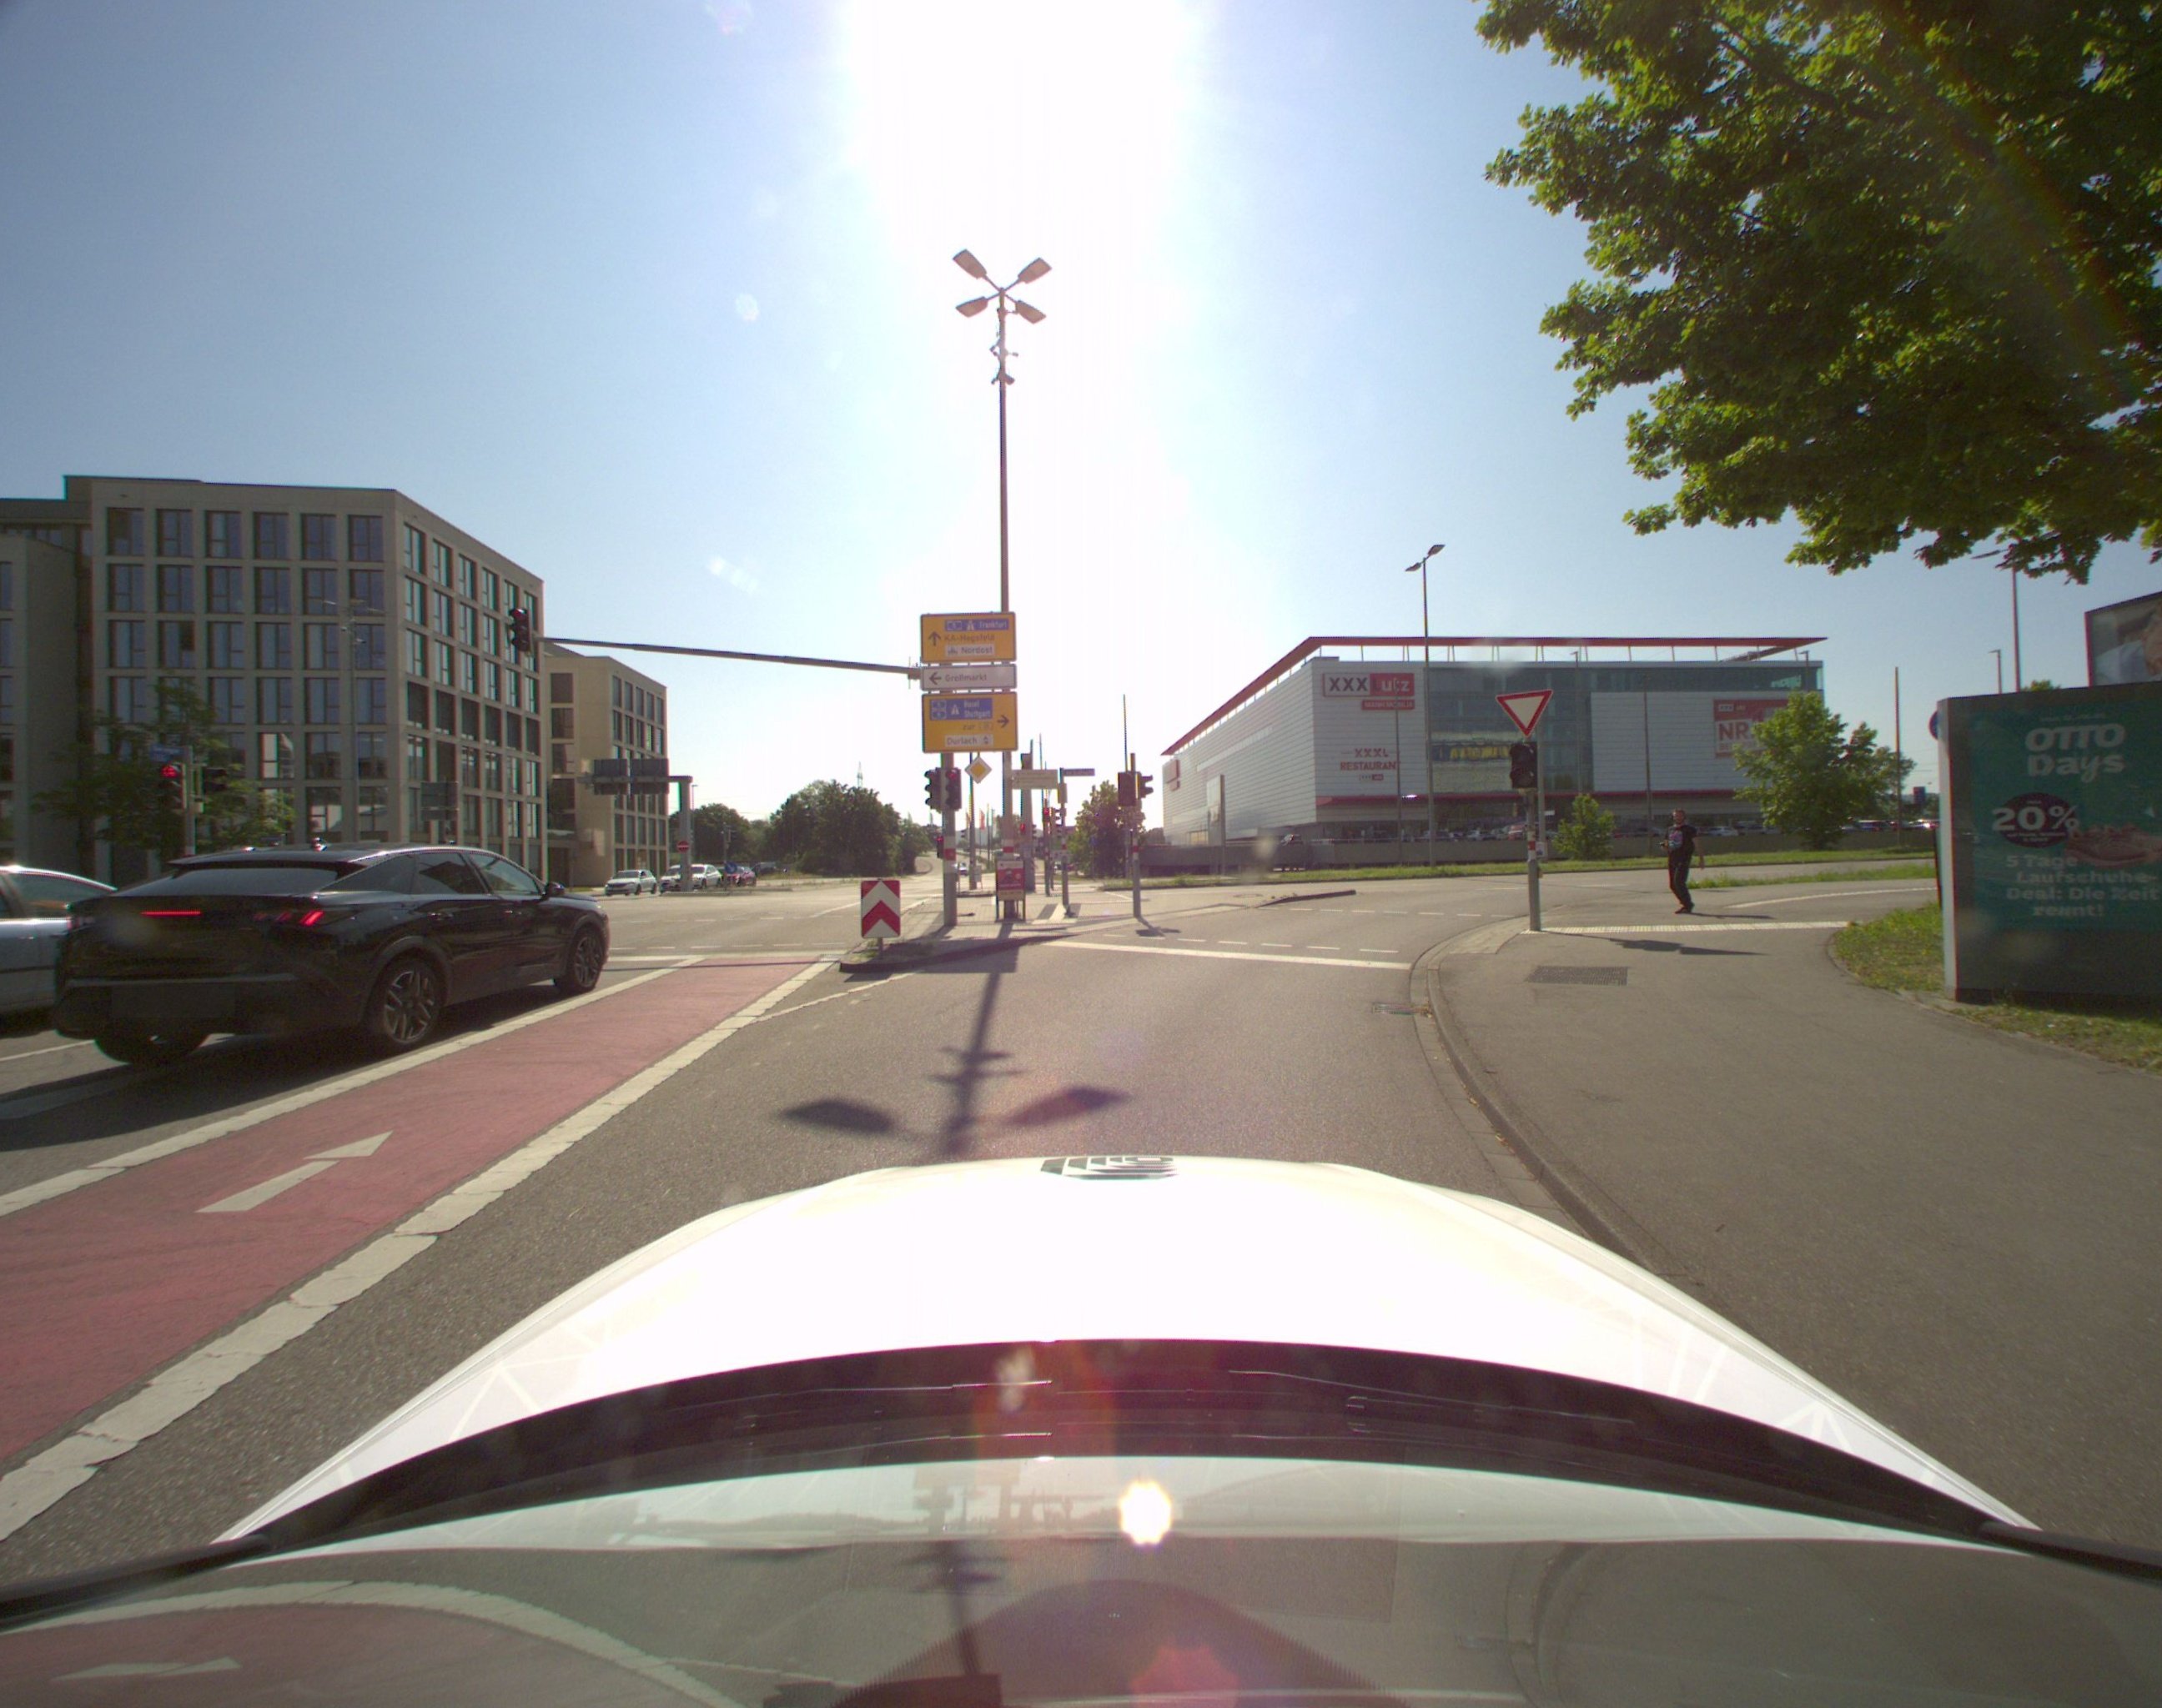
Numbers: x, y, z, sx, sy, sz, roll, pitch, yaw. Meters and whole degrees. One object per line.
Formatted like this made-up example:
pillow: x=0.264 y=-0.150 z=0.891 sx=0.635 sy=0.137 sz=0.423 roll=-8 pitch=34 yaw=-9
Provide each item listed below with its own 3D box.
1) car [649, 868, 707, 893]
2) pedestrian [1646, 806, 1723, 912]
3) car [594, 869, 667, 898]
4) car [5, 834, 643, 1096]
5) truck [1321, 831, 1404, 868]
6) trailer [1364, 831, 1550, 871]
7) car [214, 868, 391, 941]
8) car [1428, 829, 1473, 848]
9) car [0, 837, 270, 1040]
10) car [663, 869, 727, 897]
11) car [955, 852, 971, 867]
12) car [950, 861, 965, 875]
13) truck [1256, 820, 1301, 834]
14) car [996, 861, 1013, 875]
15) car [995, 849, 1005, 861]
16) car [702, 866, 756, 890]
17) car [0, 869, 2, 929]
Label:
car: x=-26.332 y=1.688 z=53.387 sx=1.810 sy=1.464 sz=3.998 roll=-2 pitch=0 yaw=-1
pedestrian: x=10.470 y=0.087 z=14.140 sx=0.628 sy=1.770 sz=0.801 roll=-2 pitch=-1 yaw=-16
car: x=-25.406 y=1.643 z=46.110 sx=1.886 sy=1.464 sz=3.998 roll=-2 pitch=0 yaw=-1
car: x=-6.128 y=0.717 z=7.548 sx=1.803 sy=1.640 sz=4.455 roll=-2 pitch=0 yaw=-2
truck: x=18.824 y=-0.310 z=54.586 sx=4.870 sy=2.423 sz=1.998 roll=1 pitch=1 yaw=-4
trailer: x=25.310 y=-0.210 z=54.933 sx=11.843 sy=2.469 sz=1.998 roll=1 pitch=1 yaw=-3
car: x=-16.454 y=1.022 z=17.382 sx=1.213 sy=1.331 sz=2.796 roll=1 pitch=1 yaw=-4
car: x=39.544 y=-1.639 z=87.222 sx=3.983 sy=2.013 sz=1.995 roll=1 pitch=1 yaw=-8
car: x=-10.013 y=0.730 z=7.114 sx=1.990 sy=1.684 sz=3.993 roll=-2 pitch=0 yaw=-5
car: x=-22.361 y=1.646 z=47.379 sx=1.810 sy=1.464 sz=3.998 roll=-2 pitch=0 yaw=-1
car: x=-16.812 y=0.766 z=116.184 sx=1.990 sy=2.013 sz=3.974 roll=1 pitch=1 yaw=-5
car: x=-16.205 y=1.843 z=107.048 sx=1.758 sy=1.794 sz=3.338 roll=-2 pitch=0 yaw=-7
truck: x=28.401 y=-3.863 z=117.240 sx=5.897 sy=2.013 sz=1.998 roll=1 pitch=1 yaw=-4
car: x=-8.430 y=1.529 z=89.792 sx=1.685 sy=1.359 sz=3.995 roll=1 pitch=1 yaw=-4
car: x=-17.103 y=0.178 z=171.475 sx=1.990 sy=2.321 sz=3.995 roll=1 pitch=1 yaw=-4
car: x=-23.226 y=1.562 z=53.865 sx=1.810 sy=1.464 sz=3.998 roll=-2 pitch=0 yaw=-1
car: x=-39.191 y=1.613 z=26.570 sx=4.906 sy=2.050 sz=1.997 roll=-2 pitch=0 yaw=-5
